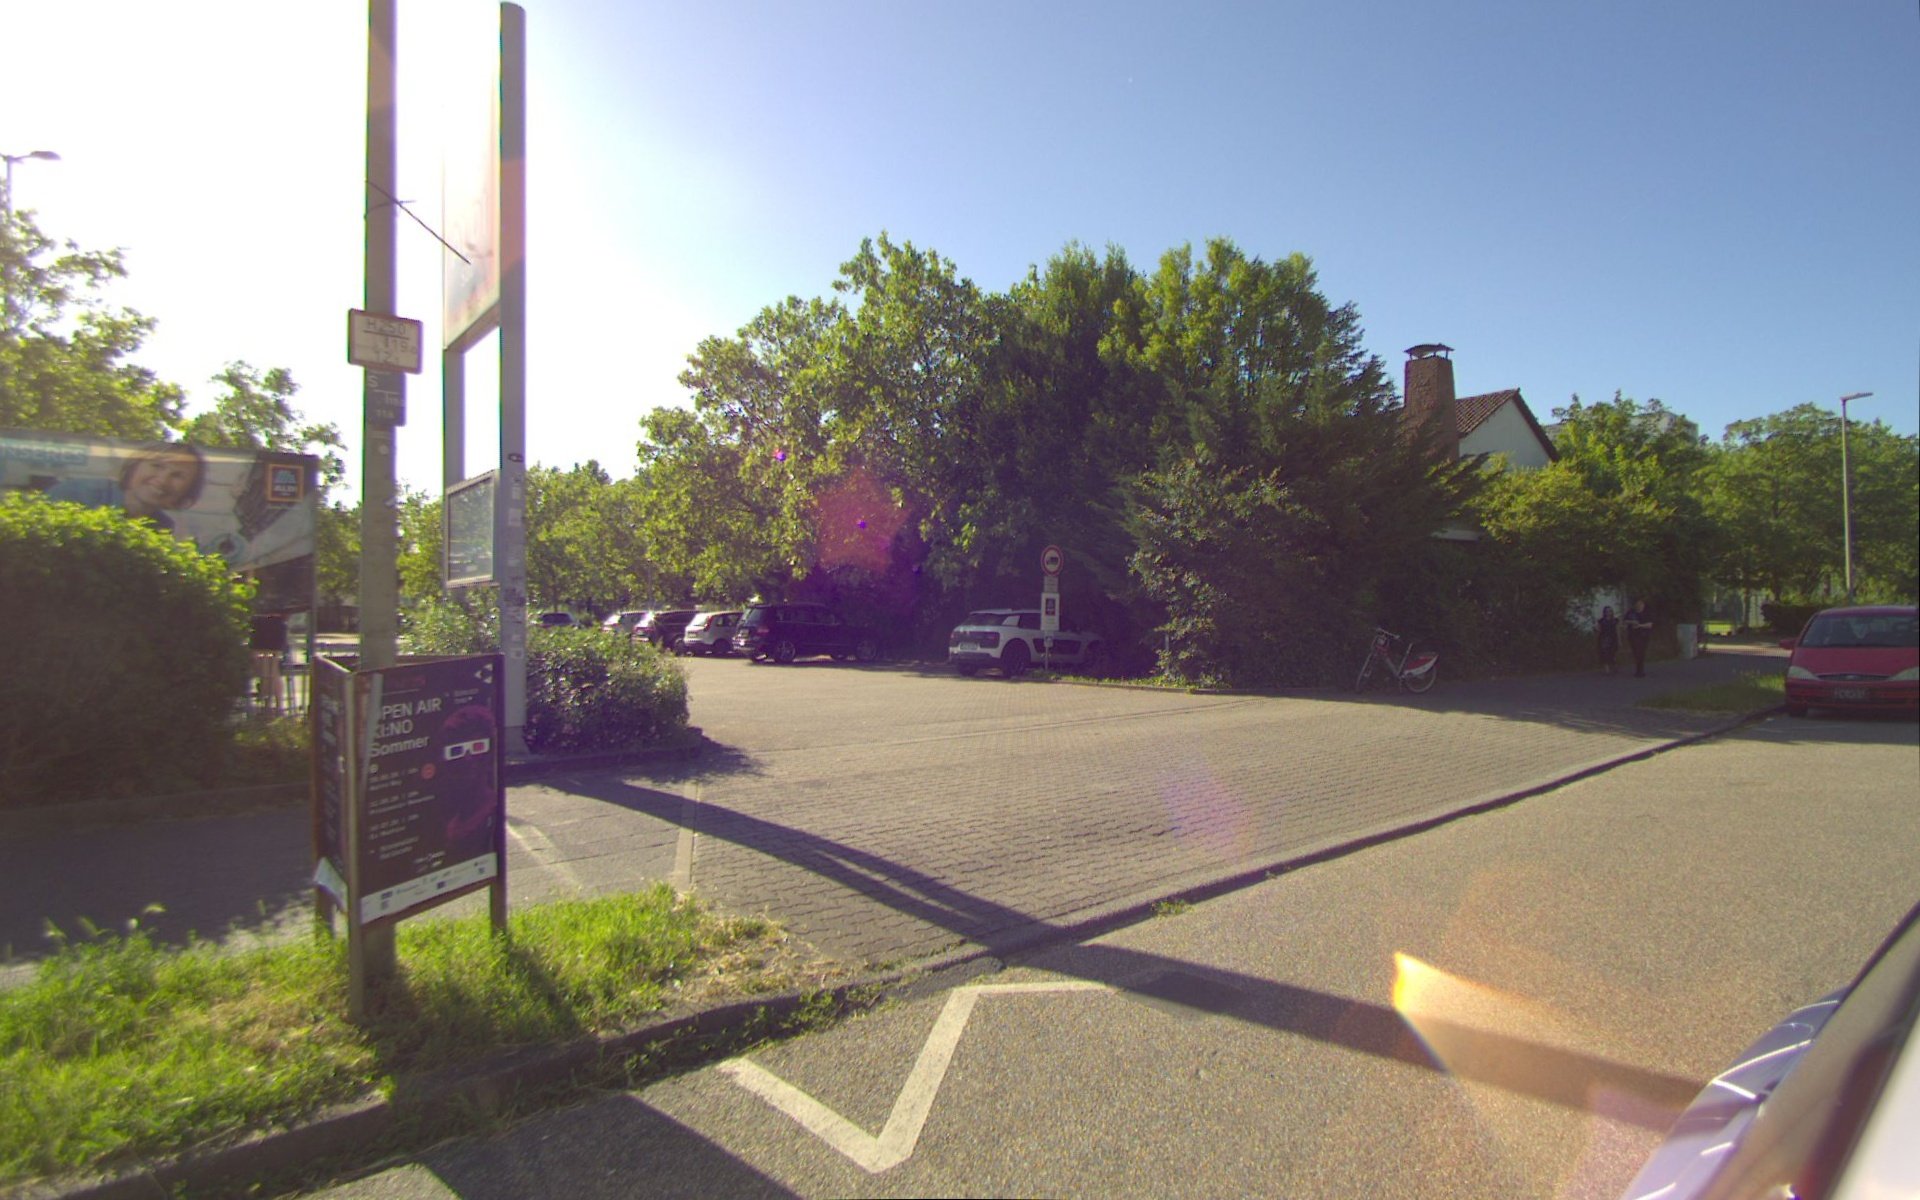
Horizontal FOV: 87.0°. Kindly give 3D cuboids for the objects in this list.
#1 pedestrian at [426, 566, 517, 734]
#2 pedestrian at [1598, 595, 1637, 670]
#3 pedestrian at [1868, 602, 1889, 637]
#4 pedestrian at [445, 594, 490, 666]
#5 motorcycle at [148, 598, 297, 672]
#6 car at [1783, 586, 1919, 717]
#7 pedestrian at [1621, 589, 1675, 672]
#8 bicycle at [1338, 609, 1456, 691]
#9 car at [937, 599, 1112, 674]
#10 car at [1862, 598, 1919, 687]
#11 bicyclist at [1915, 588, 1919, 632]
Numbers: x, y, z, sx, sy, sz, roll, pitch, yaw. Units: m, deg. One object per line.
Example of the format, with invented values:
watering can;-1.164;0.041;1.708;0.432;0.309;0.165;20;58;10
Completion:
pedestrian;-4.995;0.496;10.395;0.760;1.652;0.695;0;-1;-20
pedestrian;14.803;0.716;22.779;0.779;1.629;0.573;-1;1;-44
pedestrian;43.881;0.919;48.350;0.629;1.659;0.641;0;-1;-38
pedestrian;-11.756;0.711;24.169;0.814;1.677;0.672;1;-2;-42
motorcycle;-15.908;0.727;21.878;2.552;1.528;0.871;0;-1;-41
car;14.719;0.730;15.972;4.571;1.828;1.843;0;-1;-40
pedestrian;15.116;0.643;22.228;0.968;1.738;0.804;-1;2;-44
bicycle;7.189;0.793;16.637;1.857;1.236;0.724;-1;1;-25
car;1.486;0.768;22.544;3.735;1.523;1.775;0;-1;-41
car;19.754;0.810;20.478;4.277;1.677;1.727;0;-1;-41
bicyclist;44.990;0.485;47.084;0.699;2.039;0.752;1;-2;-42
